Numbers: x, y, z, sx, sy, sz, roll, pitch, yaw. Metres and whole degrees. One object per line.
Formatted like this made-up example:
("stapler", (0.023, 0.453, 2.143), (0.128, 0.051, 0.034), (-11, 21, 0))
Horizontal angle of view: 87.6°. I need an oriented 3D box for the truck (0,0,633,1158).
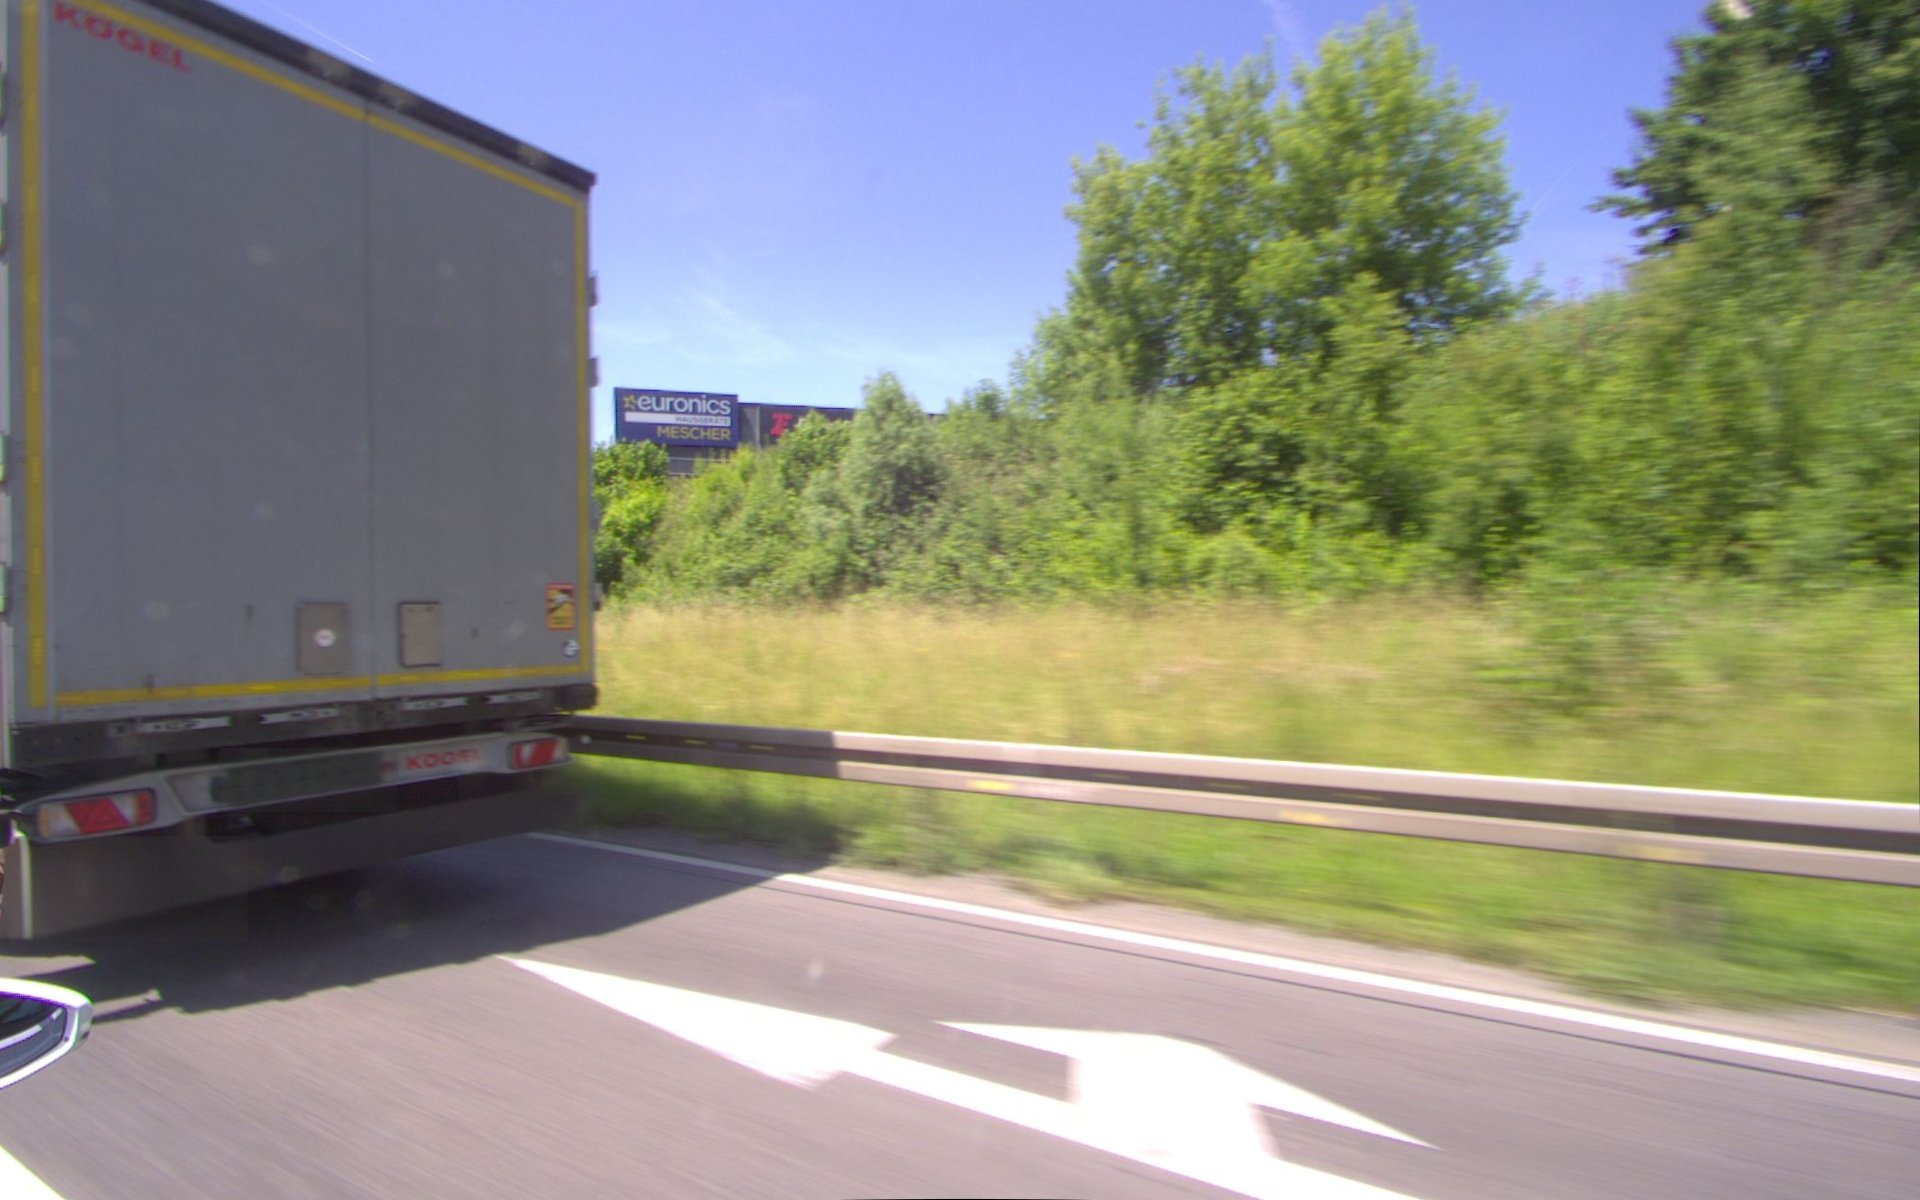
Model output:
("truck", (-9.559, -0.145, 8.917), (16.419, 4.698, 2.751), (-2, -2, 32))
